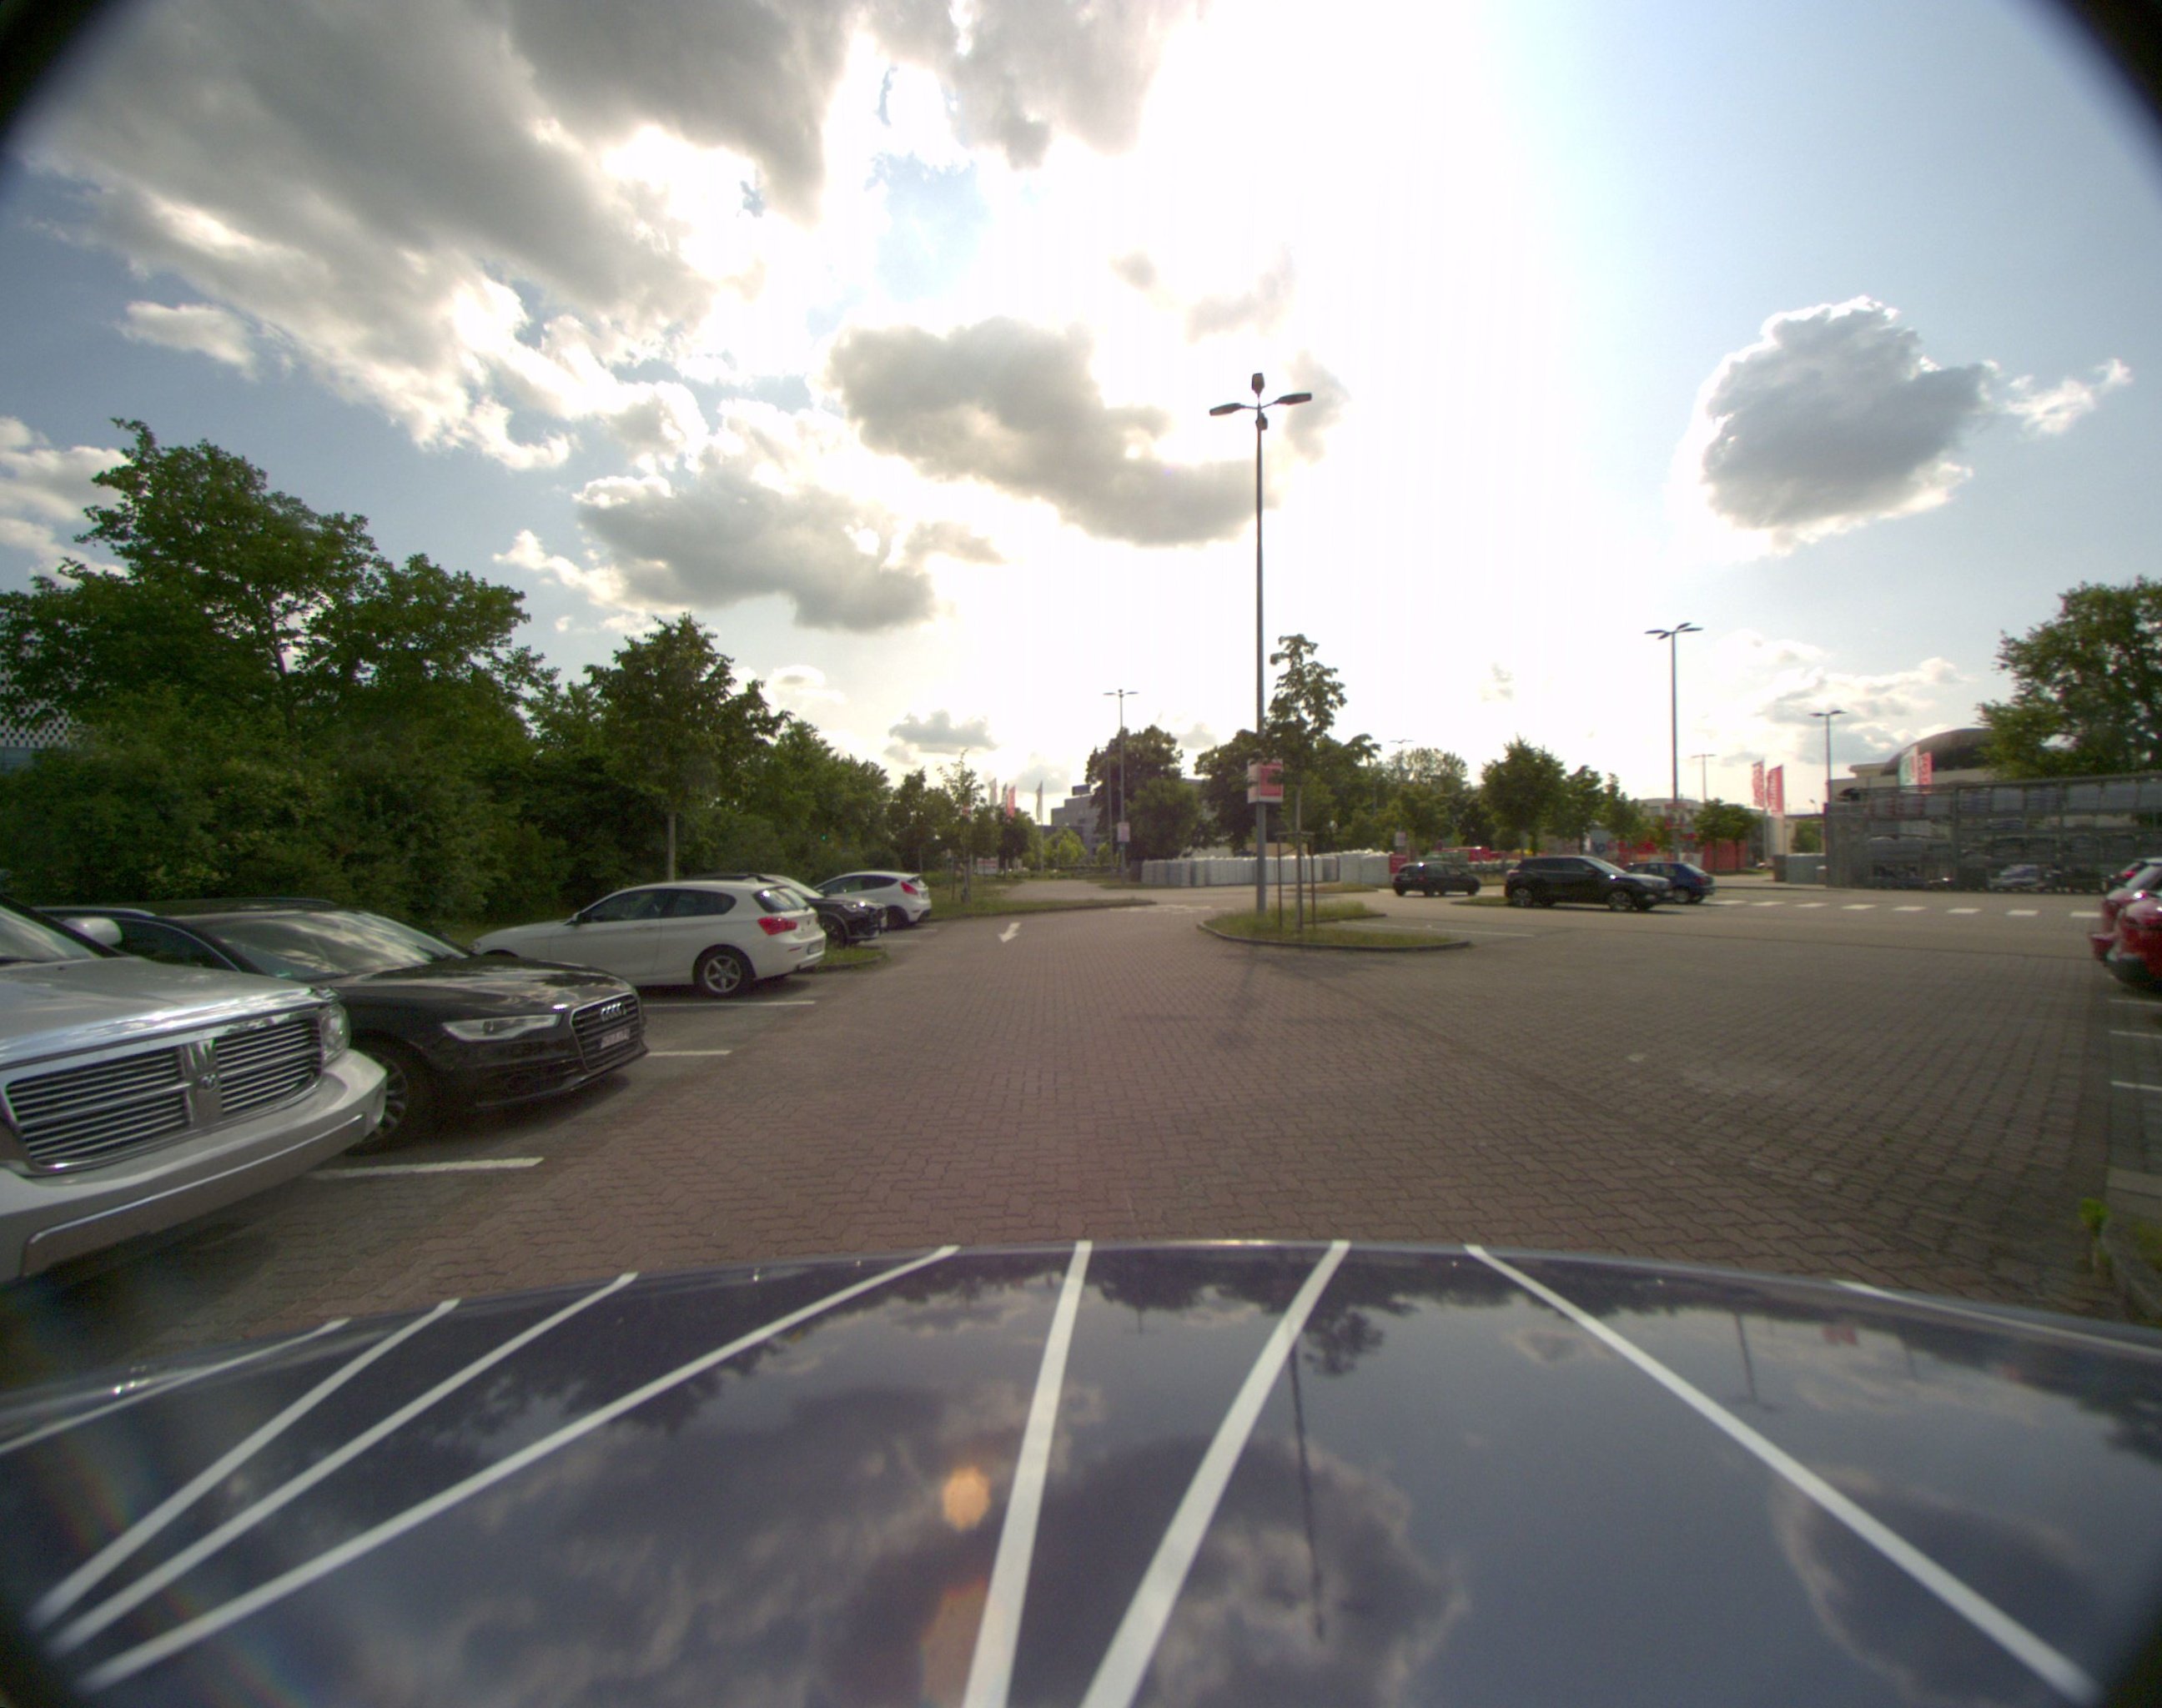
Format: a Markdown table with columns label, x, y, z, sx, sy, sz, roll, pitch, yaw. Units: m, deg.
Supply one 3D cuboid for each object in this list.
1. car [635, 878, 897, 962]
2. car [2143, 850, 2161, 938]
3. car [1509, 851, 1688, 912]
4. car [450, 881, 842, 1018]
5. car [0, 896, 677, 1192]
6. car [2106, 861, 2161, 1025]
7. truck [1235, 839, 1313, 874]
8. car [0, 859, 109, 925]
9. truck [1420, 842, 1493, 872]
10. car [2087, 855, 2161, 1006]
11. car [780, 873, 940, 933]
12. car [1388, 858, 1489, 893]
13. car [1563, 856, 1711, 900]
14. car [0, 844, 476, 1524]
| label | x | y | z | sx | sy | sz | roll | pitch | yaw |
| --- | --- | --- | --- | --- | --- | --- | --- | --- | --- |
| car | -5.814 | 1.204 | 14.429 | 4.240 | 1.402 | 1.733 | -1 | 0 | -2 |
| car | 21.766 | 0.709 | 13.004 | 1.787 | 1.615 | 4.073 | -1 | 0 | -39 |
| car | 15.051 | 0.762 | 22.287 | 1.739 | 1.615 | 3.953 | -1 | 0 | -35 |
| car | -5.422 | 1.169 | 9.862 | 4.078 | 1.501 | 1.690 | -1 | 1 | 0 |
| car | -5.524 | 1.076 | 4.969 | 4.722 | 1.442 | 1.839 | -1 | 0 | -3 |
| car | 11.116 | 0.746 | 5.660 | 1.770 | 1.390 | 4.077 | -1 | 0 | -39 |
| truck | 20.498 | 0.243 | 80.400 | 9.053 | 3.577 | 2.723 | 0 | 0 | -35 |
| car | -33.923 | 1.176 | 23.724 | 1.999 | 2.002 | 3.999 | -1 | 0 | -2 |
| truck | 33.175 | 0.289 | 67.224 | 2.121 | 2.500 | 5.430 | 0 | 0 | -39 |
| car | 12.837 | 0.788 | 7.512 | 1.713 | 1.572 | 3.438 | -1 | 0 | -39 |
| car | -5.586 | 1.214 | 19.447 | 3.554 | 1.403 | 1.670 | -1 | 0 | 3 |
| car | 14.527 | 0.828 | 30.843 | 3.791 | 1.313 | 1.609 | -1 | 0 | -24 |
| car | 18.791 | 0.782 | 25.833 | 1.624 | 1.359 | 3.753 | 0 | -1 | -36 |
| car | -5.505 | 0.923 | 2.632 | 5.144 | 1.832 | 1.990 | -1 | 0 | -1 |
